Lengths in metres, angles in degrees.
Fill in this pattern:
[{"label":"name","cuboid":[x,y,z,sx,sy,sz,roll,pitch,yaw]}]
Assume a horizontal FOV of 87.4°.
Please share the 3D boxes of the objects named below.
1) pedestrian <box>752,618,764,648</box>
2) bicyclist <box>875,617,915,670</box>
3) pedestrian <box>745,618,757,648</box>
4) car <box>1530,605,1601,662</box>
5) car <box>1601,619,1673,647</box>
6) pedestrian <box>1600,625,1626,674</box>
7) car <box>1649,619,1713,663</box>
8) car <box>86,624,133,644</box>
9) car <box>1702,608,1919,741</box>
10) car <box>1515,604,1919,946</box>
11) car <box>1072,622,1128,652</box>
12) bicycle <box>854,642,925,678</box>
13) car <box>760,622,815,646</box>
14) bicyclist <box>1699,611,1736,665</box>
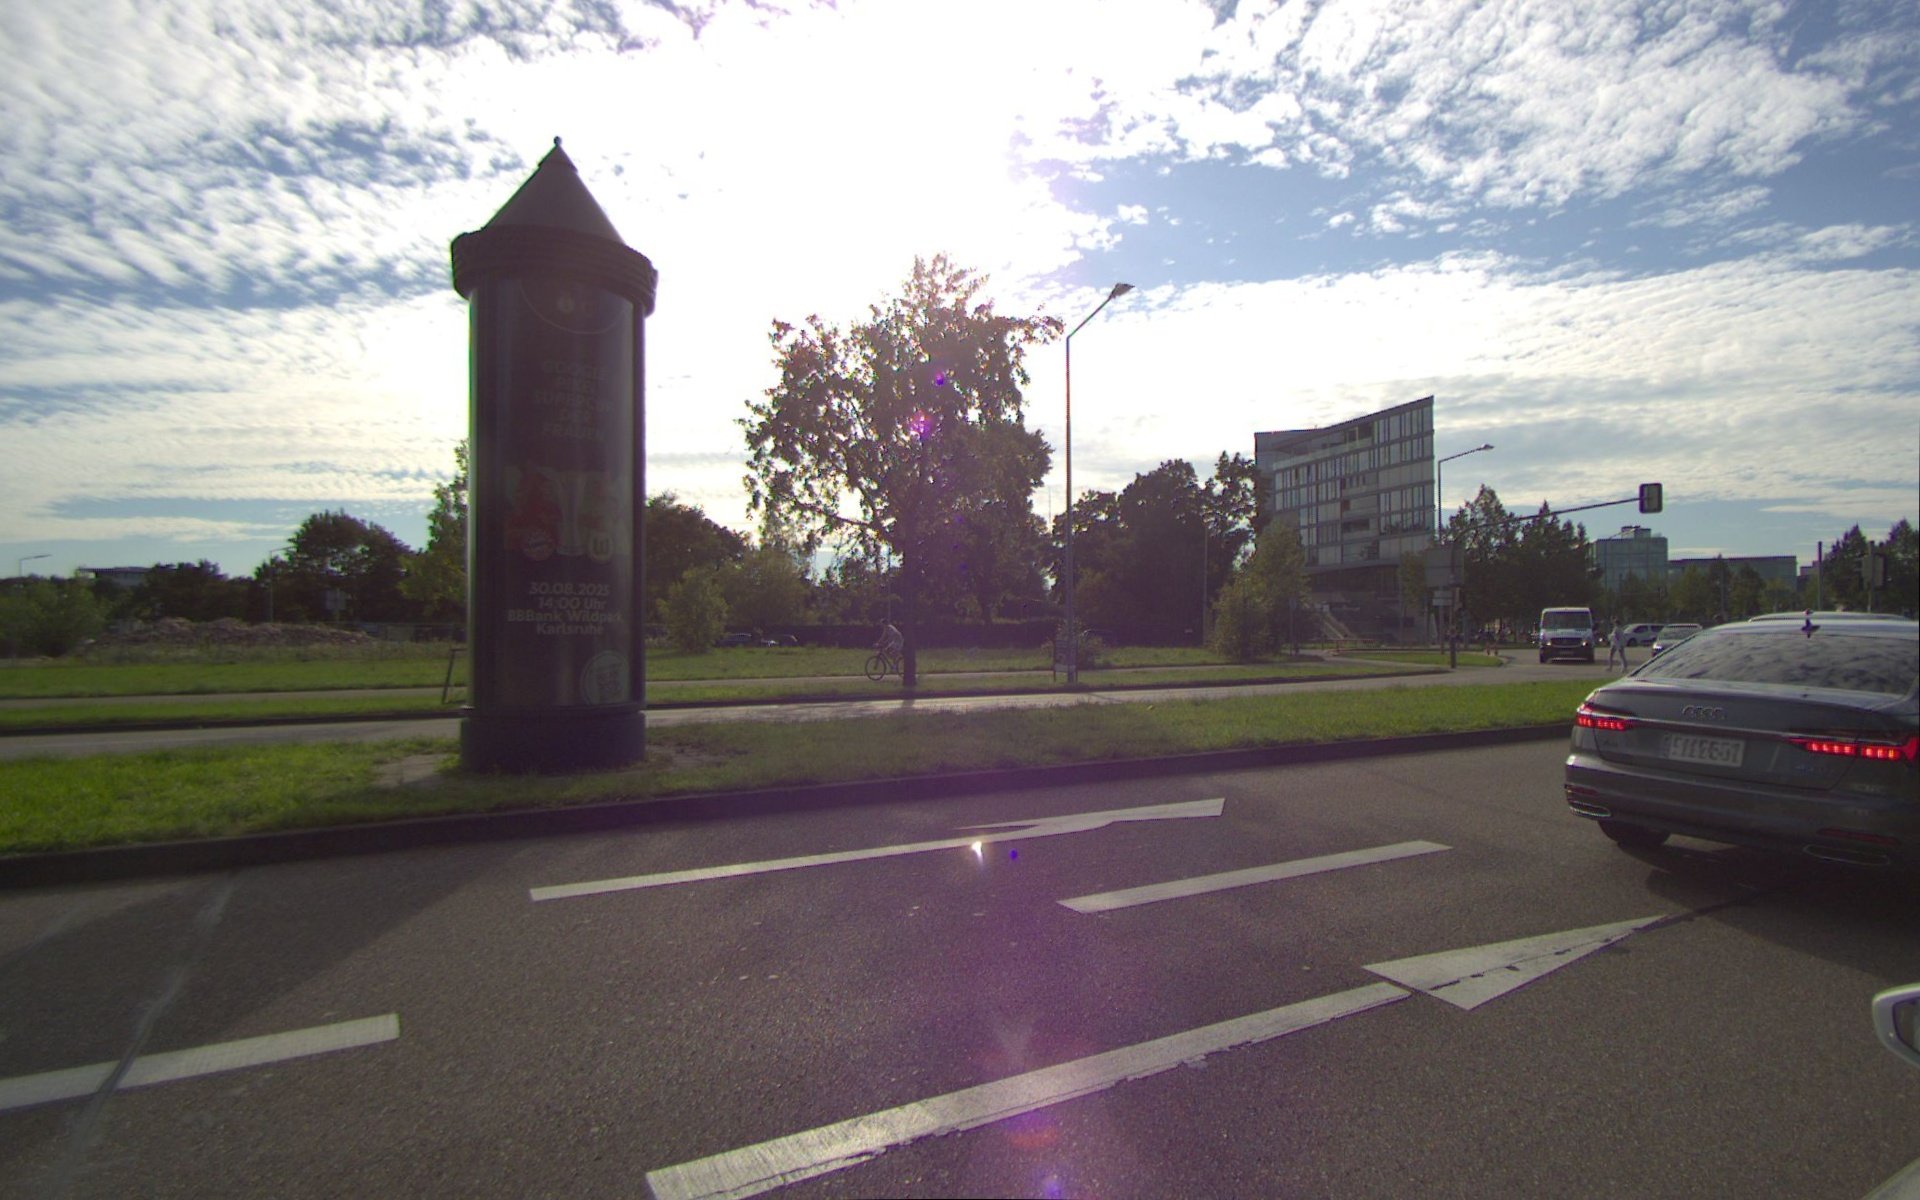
[{"label":"pedestrian","cuboid":[-13.869,2.252,68.932,0.723,2.040,0.739,0,-1,-6]},{"label":"bicyclist","cuboid":[-1.934,1.273,29.742,0.978,1.546,0.702,1,-2,-30]},{"label":"pedestrian","cuboid":[-14.168,2.234,68.117,0.675,2.040,0.641,0,-1,-5]},{"label":"car","cuboid":[25.949,1.446,42.938,1.968,2.264,5.903,-3,-3,37]},{"label":"car","cuboid":[50.856,2.521,75.502,4.154,2.040,1.827,1,-2,-3]},{"label":"pedestrian","cuboid":[21.498,1.613,33.074,0.644,1.589,0.615,-1,-2,27]},{"label":"car","cuboid":[27.828,1.588,38.716,1.685,1.594,3.981,-3,-4,40]},{"label":"car","cuboid":[-85.518,3.436,100.993,3.922,2.040,2.000,-1,-2,21]},{"label":"car","cuboid":[12.102,0.921,13.728,3.971,1.579,1.721,1,0,-30]},{"label":"car","cuboid":[5.759,0.816,6.366,4.559,1.502,1.881,1,-1,-31]},{"label":"car","cuboid":[10.486,2.728,75.157,3.919,2.040,2.001,2,0,13]},{"label":"bicycle","cuboid":[-2.071,1.749,29.646,1.889,0.994,0.891,1,-2,-31]},{"label":"car","cuboid":[-13.818,2.742,80.360,3.919,1.750,1.850,-2,-3,14]},{"label":"bicyclist","cuboid":[23.999,1.213,31.832,0.544,1.690,0.783,1,-2,-34]}]
